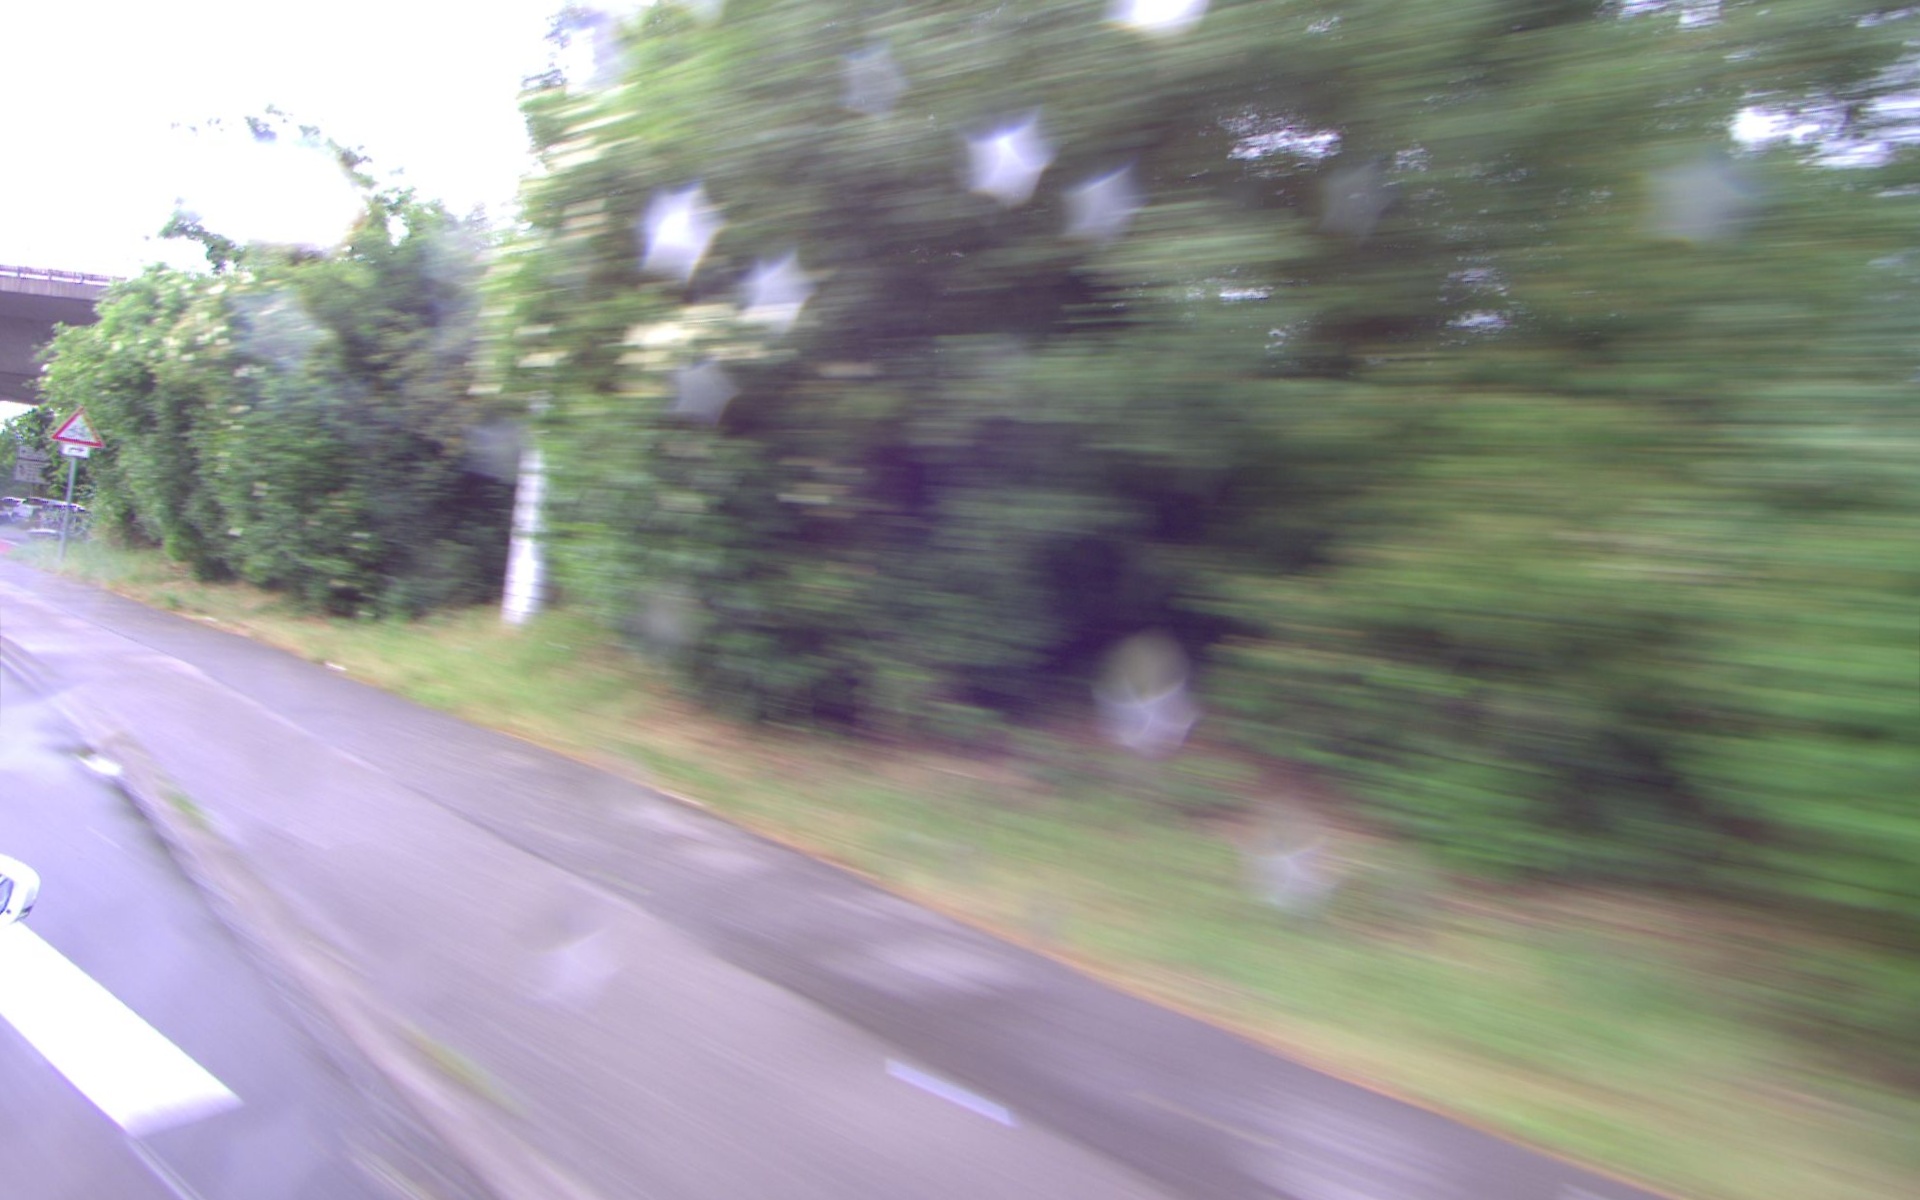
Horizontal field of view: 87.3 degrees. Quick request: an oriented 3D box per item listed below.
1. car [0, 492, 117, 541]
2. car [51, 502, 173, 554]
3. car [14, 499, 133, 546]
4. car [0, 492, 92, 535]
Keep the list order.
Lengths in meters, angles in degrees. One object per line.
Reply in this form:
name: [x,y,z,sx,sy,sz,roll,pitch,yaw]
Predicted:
car: [-44.283,-4.070,49.452,1.930,1.649,4.029,7,-2,3]
car: [-39.587,-3.338,47.098,1.869,1.588,4.008,8,-4,6]
car: [-41.963,-3.629,47.769,1.753,1.455,4.055,8,-2,3]
car: [-46.433,-4.348,50.742,1.769,1.539,3.740,7,-2,3]
